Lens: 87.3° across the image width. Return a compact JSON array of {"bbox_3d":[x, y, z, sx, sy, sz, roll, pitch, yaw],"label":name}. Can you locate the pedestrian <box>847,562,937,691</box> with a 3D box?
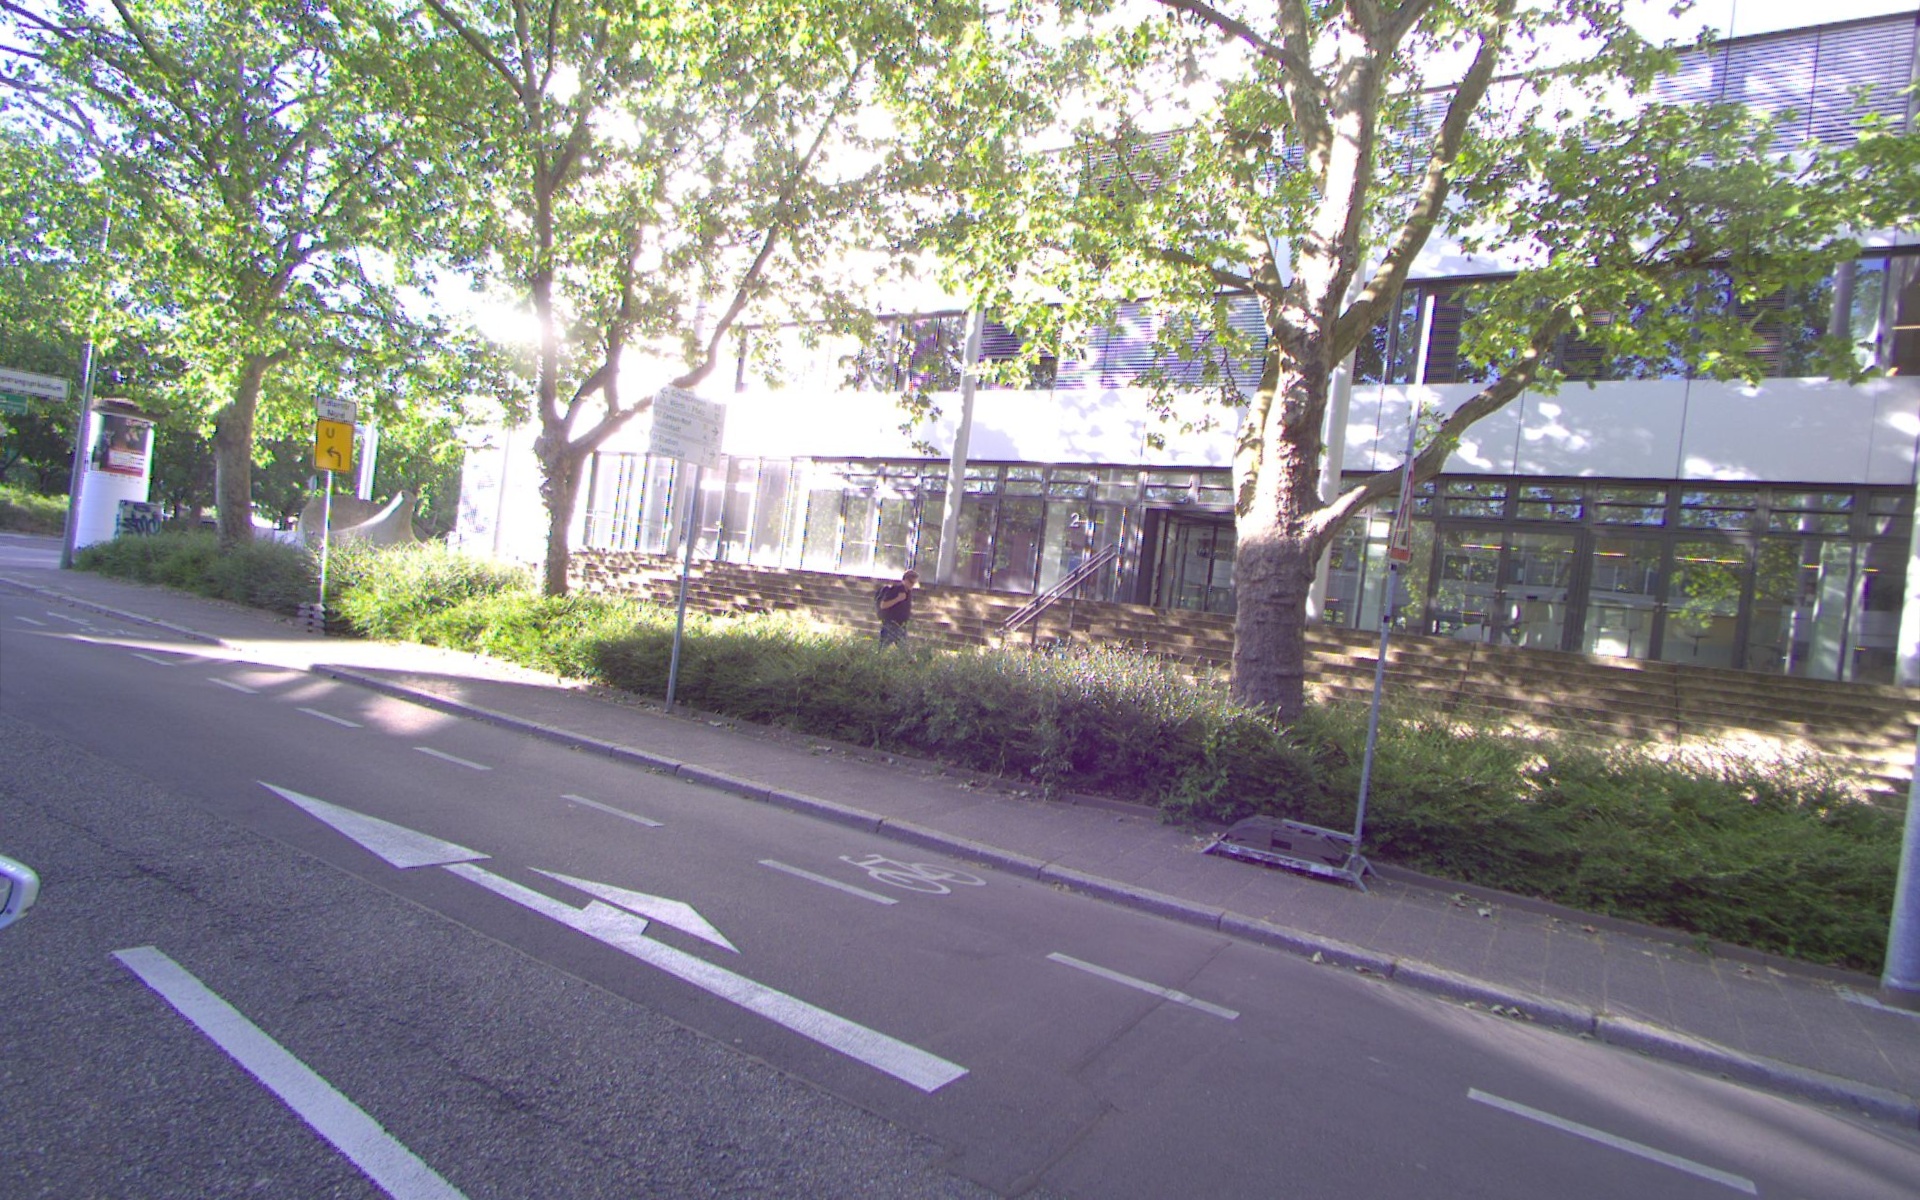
[{"bbox_3d":[-1.008,0.403,15.077,0.848,1.802,0.785,7,0,30],"label":"pedestrian"}]
